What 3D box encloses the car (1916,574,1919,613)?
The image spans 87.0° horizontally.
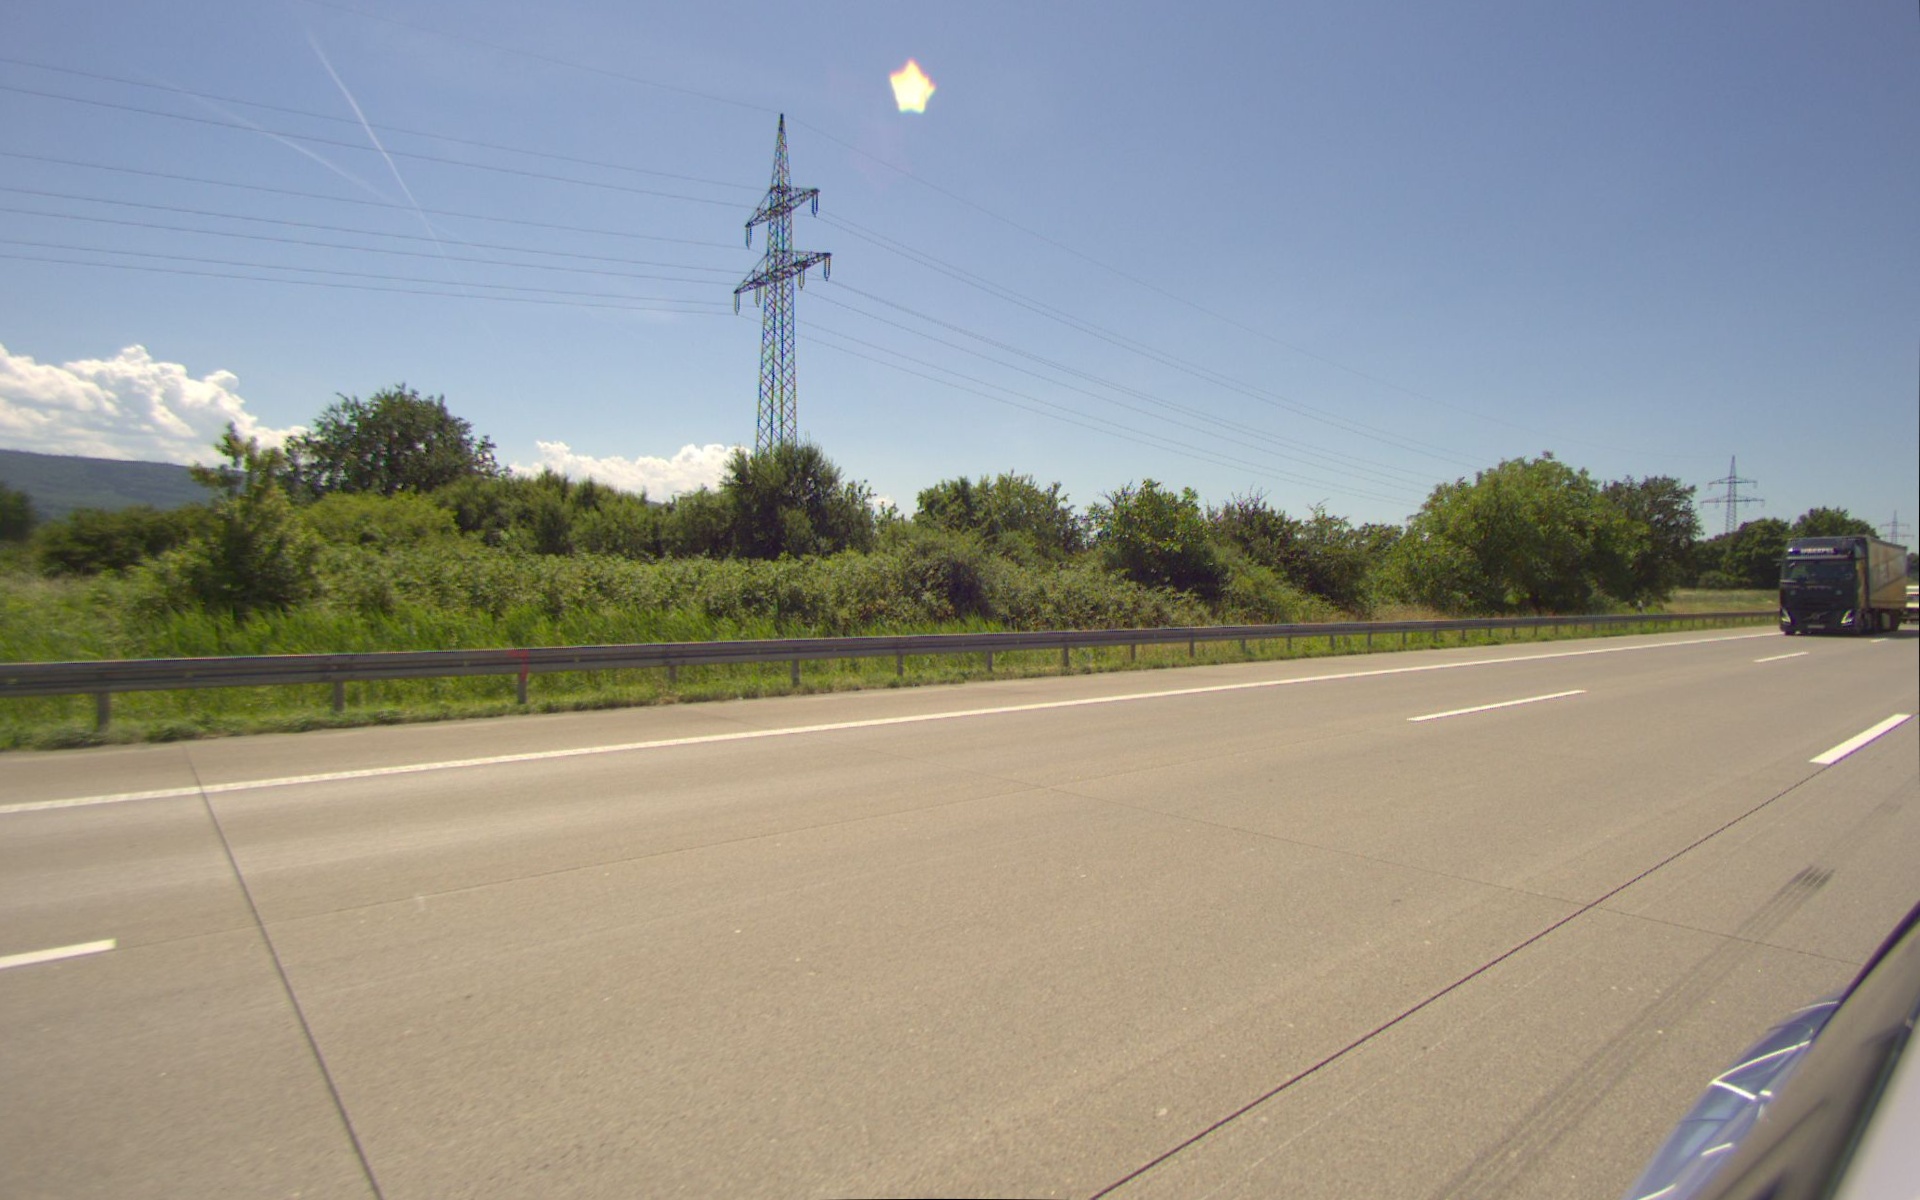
[{"bbox_3d":[61.751,-0.404,63.443,5.419,2.377,2.138,0,0,-41],"label":"car"}]

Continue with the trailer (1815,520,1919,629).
[{"bbox_3d":[40.690,-1.044,44.888,14.487,4.246,1.997,0,0,-41],"label":"trailer"}]

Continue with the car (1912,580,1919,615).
[{"bbox_3d":[58.317,-0.141,60.424,3.752,2.039,1.787,0,0,-41],"label":"car"}]

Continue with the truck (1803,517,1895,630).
[{"bbox_3d":[35.643,-1.006,40.521,5.606,4.246,1.997,0,0,-41],"label":"truck"}]
